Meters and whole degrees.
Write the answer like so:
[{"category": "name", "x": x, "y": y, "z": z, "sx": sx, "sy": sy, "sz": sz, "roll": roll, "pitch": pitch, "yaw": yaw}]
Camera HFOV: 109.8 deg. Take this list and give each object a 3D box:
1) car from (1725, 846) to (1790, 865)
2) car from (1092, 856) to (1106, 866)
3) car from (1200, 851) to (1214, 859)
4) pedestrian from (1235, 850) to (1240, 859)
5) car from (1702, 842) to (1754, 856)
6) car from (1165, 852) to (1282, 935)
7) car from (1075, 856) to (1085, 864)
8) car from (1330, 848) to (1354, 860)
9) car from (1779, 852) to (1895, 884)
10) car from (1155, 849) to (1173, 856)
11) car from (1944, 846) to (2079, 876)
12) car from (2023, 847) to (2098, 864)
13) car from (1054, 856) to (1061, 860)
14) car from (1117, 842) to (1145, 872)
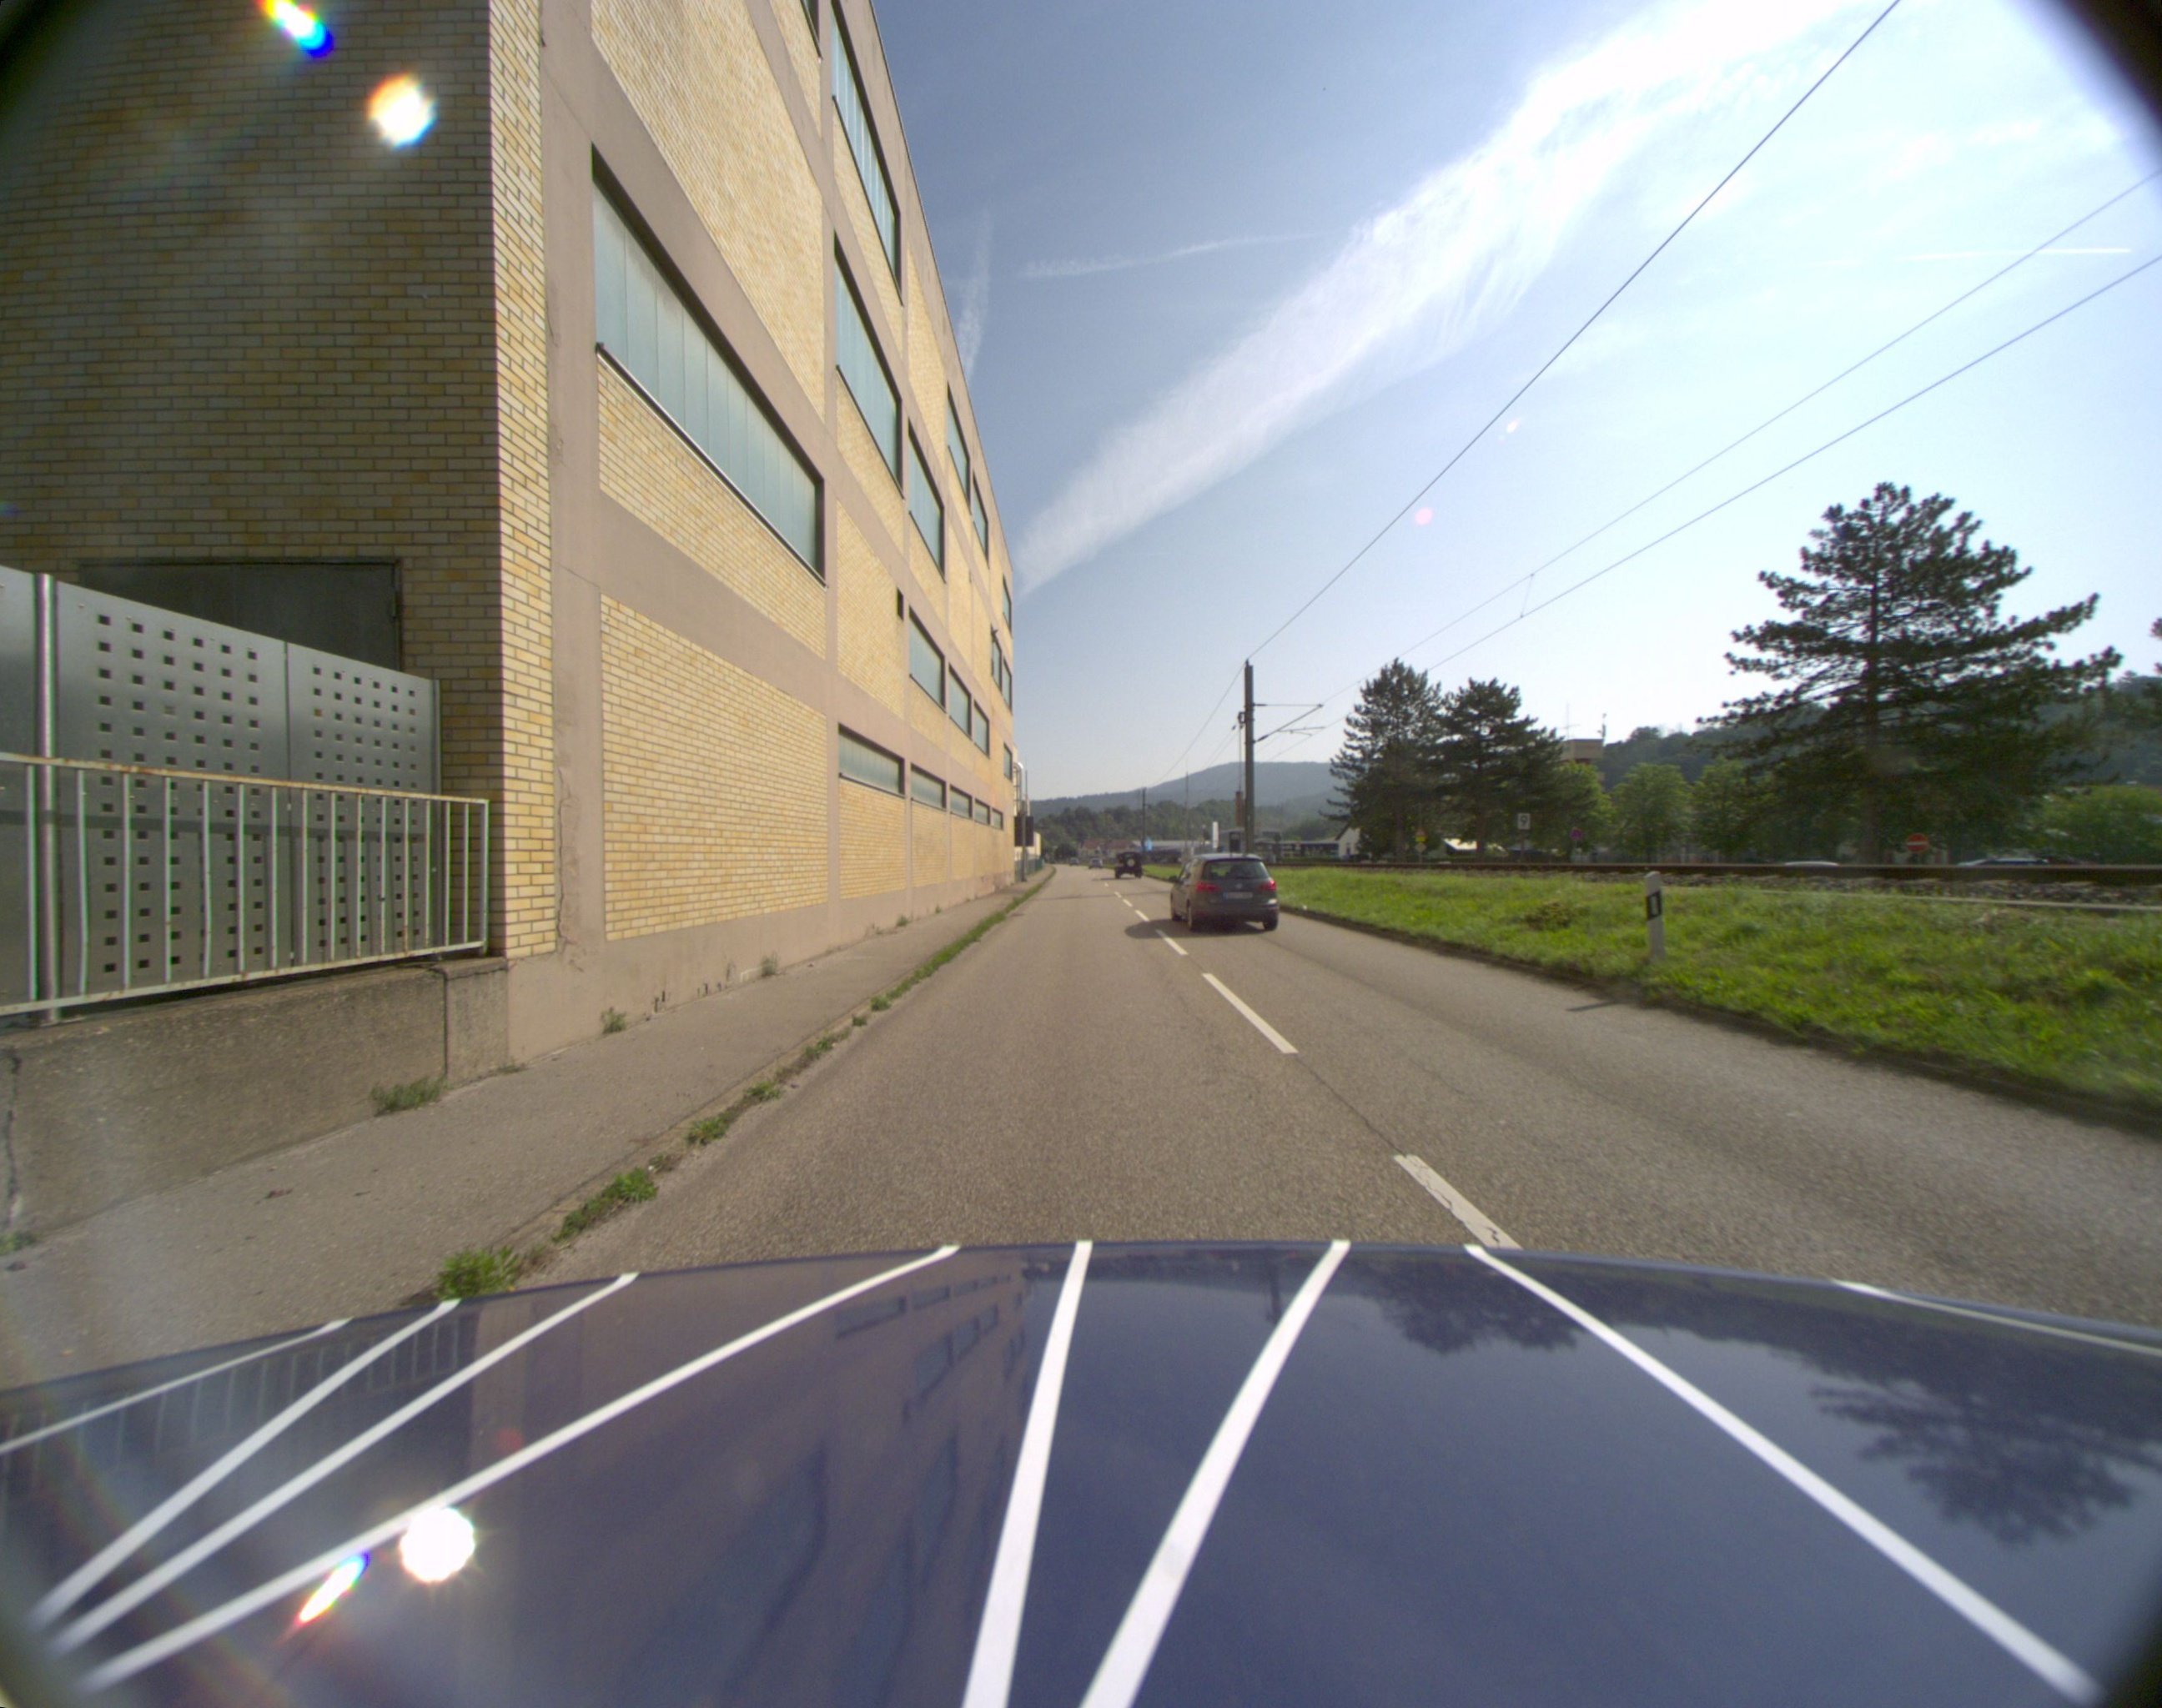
[{"category": "car", "x": 58.389, "y": 0.132, "z": 65.633, "sx": 1.684, "sy": 1.539, "sz": 3.996, "roll": 0, "pitch": 0, "yaw": -10}, {"category": "car", "x": 2.554, "y": 1.003, "z": 107.137, "sx": 1.772, "sy": 1.397, "sz": 4.295, "roll": 0, "pitch": 0, "yaw": -2}, {"category": "car", "x": 25.936, "y": 0.150, "z": 156.558, "sx": 1.523, "sy": 1.679, "sz": 4.367, "roll": -2, "pitch": 1, "yaw": -8}, {"category": "pedestrian", "x": 23.644, "y": 0.081, "z": 115.060, "sx": 0.575, "sy": 1.324, "sz": 0.673, "roll": 0, "pitch": 1, "yaw": -9}, {"category": "car", "x": 68.889, "y": -0.563, "z": 80.964, "sx": 1.472, "sy": 1.444, "sz": 3.990, "roll": 0, "pitch": 0, "yaw": -32}, {"category": "car", "x": 2.919, "y": 0.741, "z": 16.376, "sx": 1.735, "sy": 1.517, "sz": 4.092, "roll": -2, "pitch": 0, "yaw": 0}, {"category": "car", "x": -0.236, "y": 1.224, "z": 163.175, "sx": 1.912, "sy": 1.591, "sz": 4.568, "roll": -1, "pitch": 1, "yaw": -3}, {"category": "car", "x": 28.887, "y": -0.023, "z": 84.123, "sx": 1.394, "sy": 1.344, "sz": 2.893, "roll": 0, "pitch": 1, "yaw": -5}, {"category": "car", "x": 35.846, "y": 0.606, "z": 36.108, "sx": 1.691, "sy": 1.435, "sz": 3.841, "roll": -1, "pitch": 1, "yaw": -44}, {"category": "car", "x": 20.642, "y": -0.411, "z": 188.964, "sx": 3.968, "sy": 1.519, "sz": 1.662, "roll": -3, "pitch": 1, "yaw": -7}, {"category": "car", "x": 44.296, "y": 0.308, "z": 36.310, "sx": 3.841, "sy": 1.398, "sz": 1.692, "roll": 0, "pitch": 1, "yaw": 41}, {"category": "car", "x": 86.321, "y": 0.129, "z": 67.033, "sx": 1.495, "sy": 1.472, "sz": 3.850, "roll": 0, "pitch": 1, "yaw": -7}, {"category": "car", "x": -7.376, "y": 1.270, "z": 234.154, "sx": 1.769, "sy": 1.395, "sz": 4.117, "roll": -1, "pitch": 0, "yaw": -7}, {"category": "car", "x": 3.622, "y": 0.216, "z": 55.283, "sx": 1.762, "sy": 2.066, "sz": 4.808, "roll": -2, "pitch": 0, "yaw": 1}]
